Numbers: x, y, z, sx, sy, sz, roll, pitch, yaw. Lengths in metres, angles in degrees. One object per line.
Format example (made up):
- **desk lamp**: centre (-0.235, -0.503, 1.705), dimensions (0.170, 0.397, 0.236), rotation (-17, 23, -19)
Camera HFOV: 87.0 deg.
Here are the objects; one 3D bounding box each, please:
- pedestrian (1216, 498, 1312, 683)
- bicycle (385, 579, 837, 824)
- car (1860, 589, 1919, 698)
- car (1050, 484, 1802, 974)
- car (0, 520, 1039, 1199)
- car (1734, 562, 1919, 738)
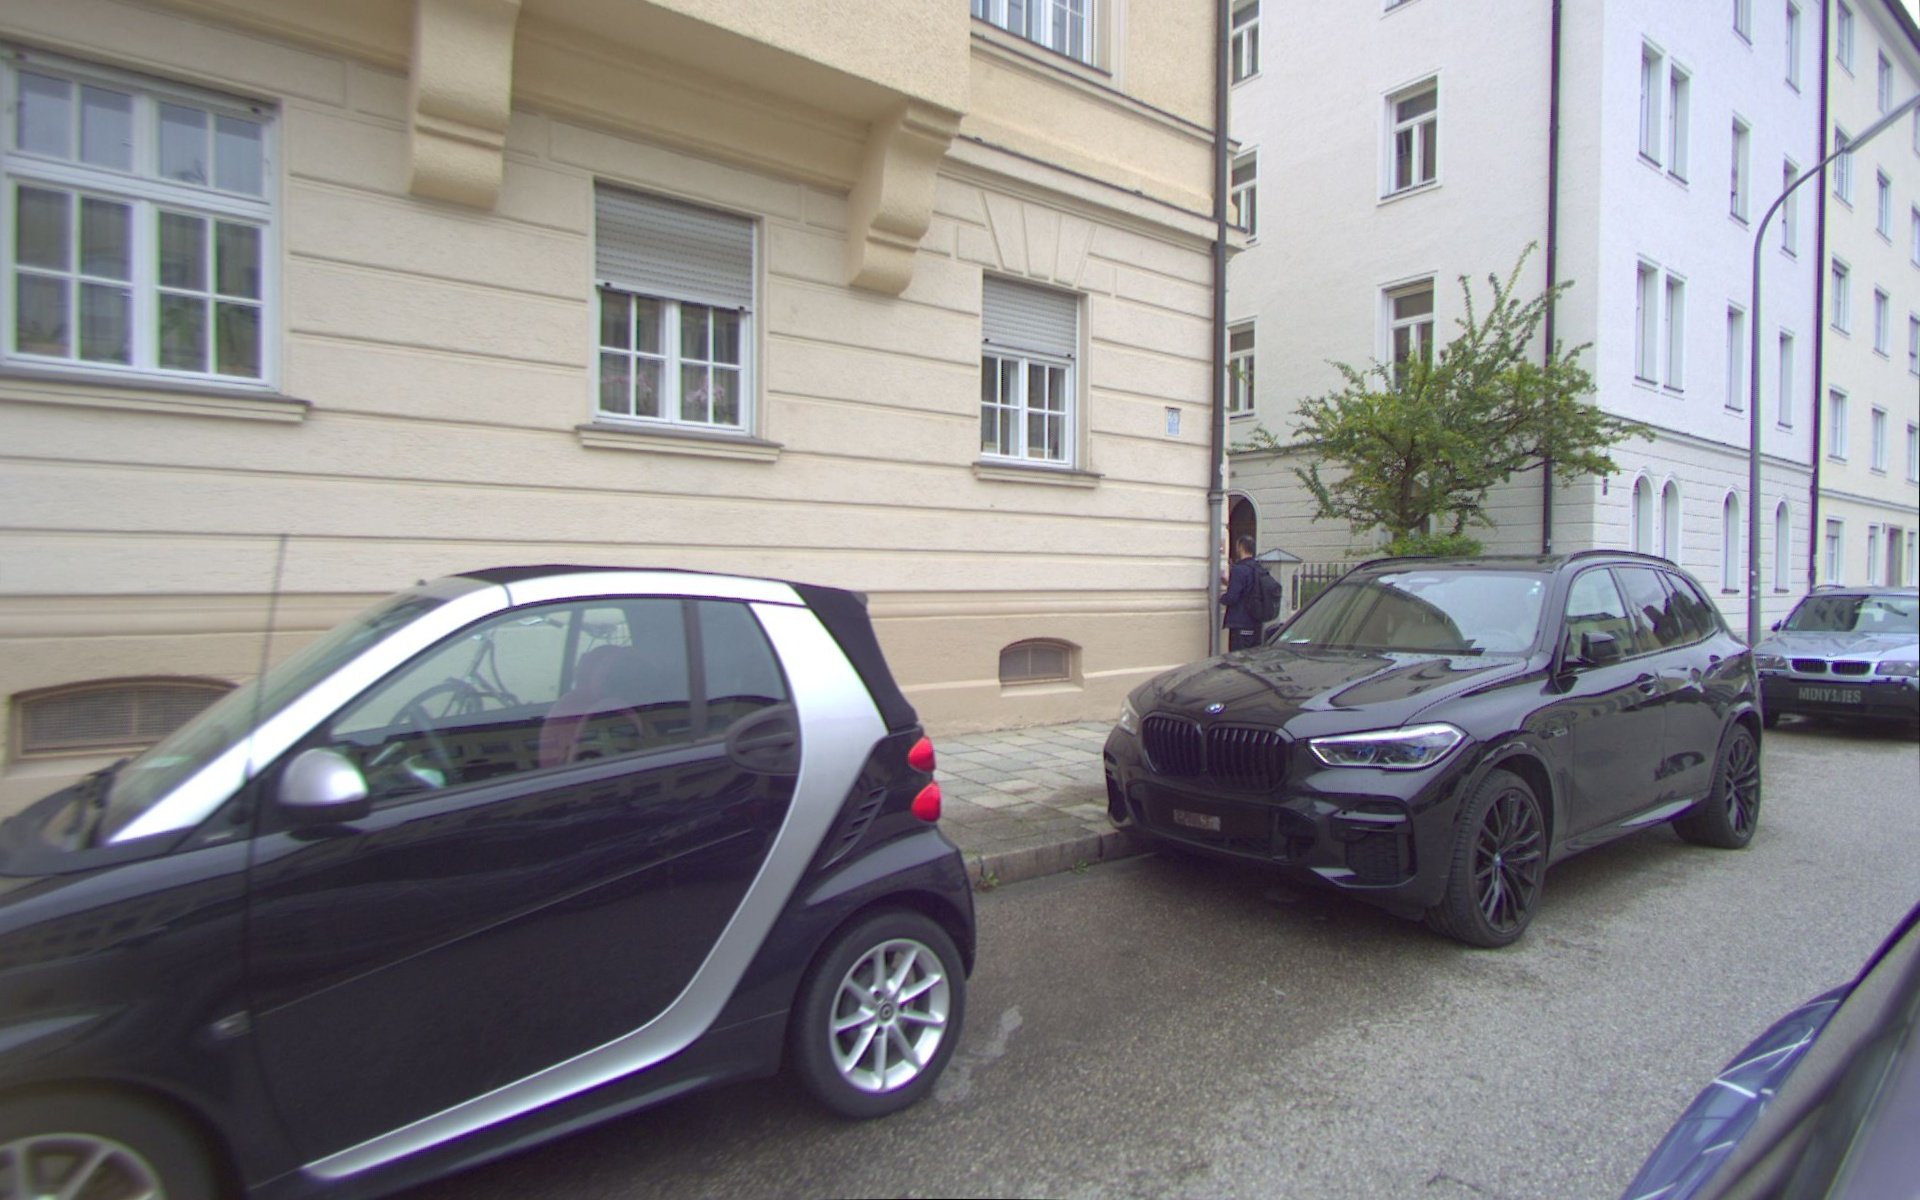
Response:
- **pedestrian**: centre (3.031, -0.099, 10.137), dimensions (0.679, 1.783, 0.686), rotation (-1, 0, -5)
- **bicycle**: centre (-2.074, 0.509, 6.355), dimensions (2.596, 1.262, 0.703), rotation (-1, 2, -37)
- **car**: centre (15.020, 0.583, 15.007), dimensions (3.981, 1.460, 1.708), rotation (-1, 0, -37)
- **car**: centre (2.875, 0.480, 5.779), dimensions (4.599, 1.752, 1.933), rotation (1, -1, -37)
- **car**: centre (-1.348, 0.633, 2.937), dimensions (2.808, 1.576, 1.512), rotation (-1, 0, -35)
- **car**: centre (10.922, 0.457, 11.879), dimensions (4.308, 1.752, 1.783), rotation (-1, 0, -37)
